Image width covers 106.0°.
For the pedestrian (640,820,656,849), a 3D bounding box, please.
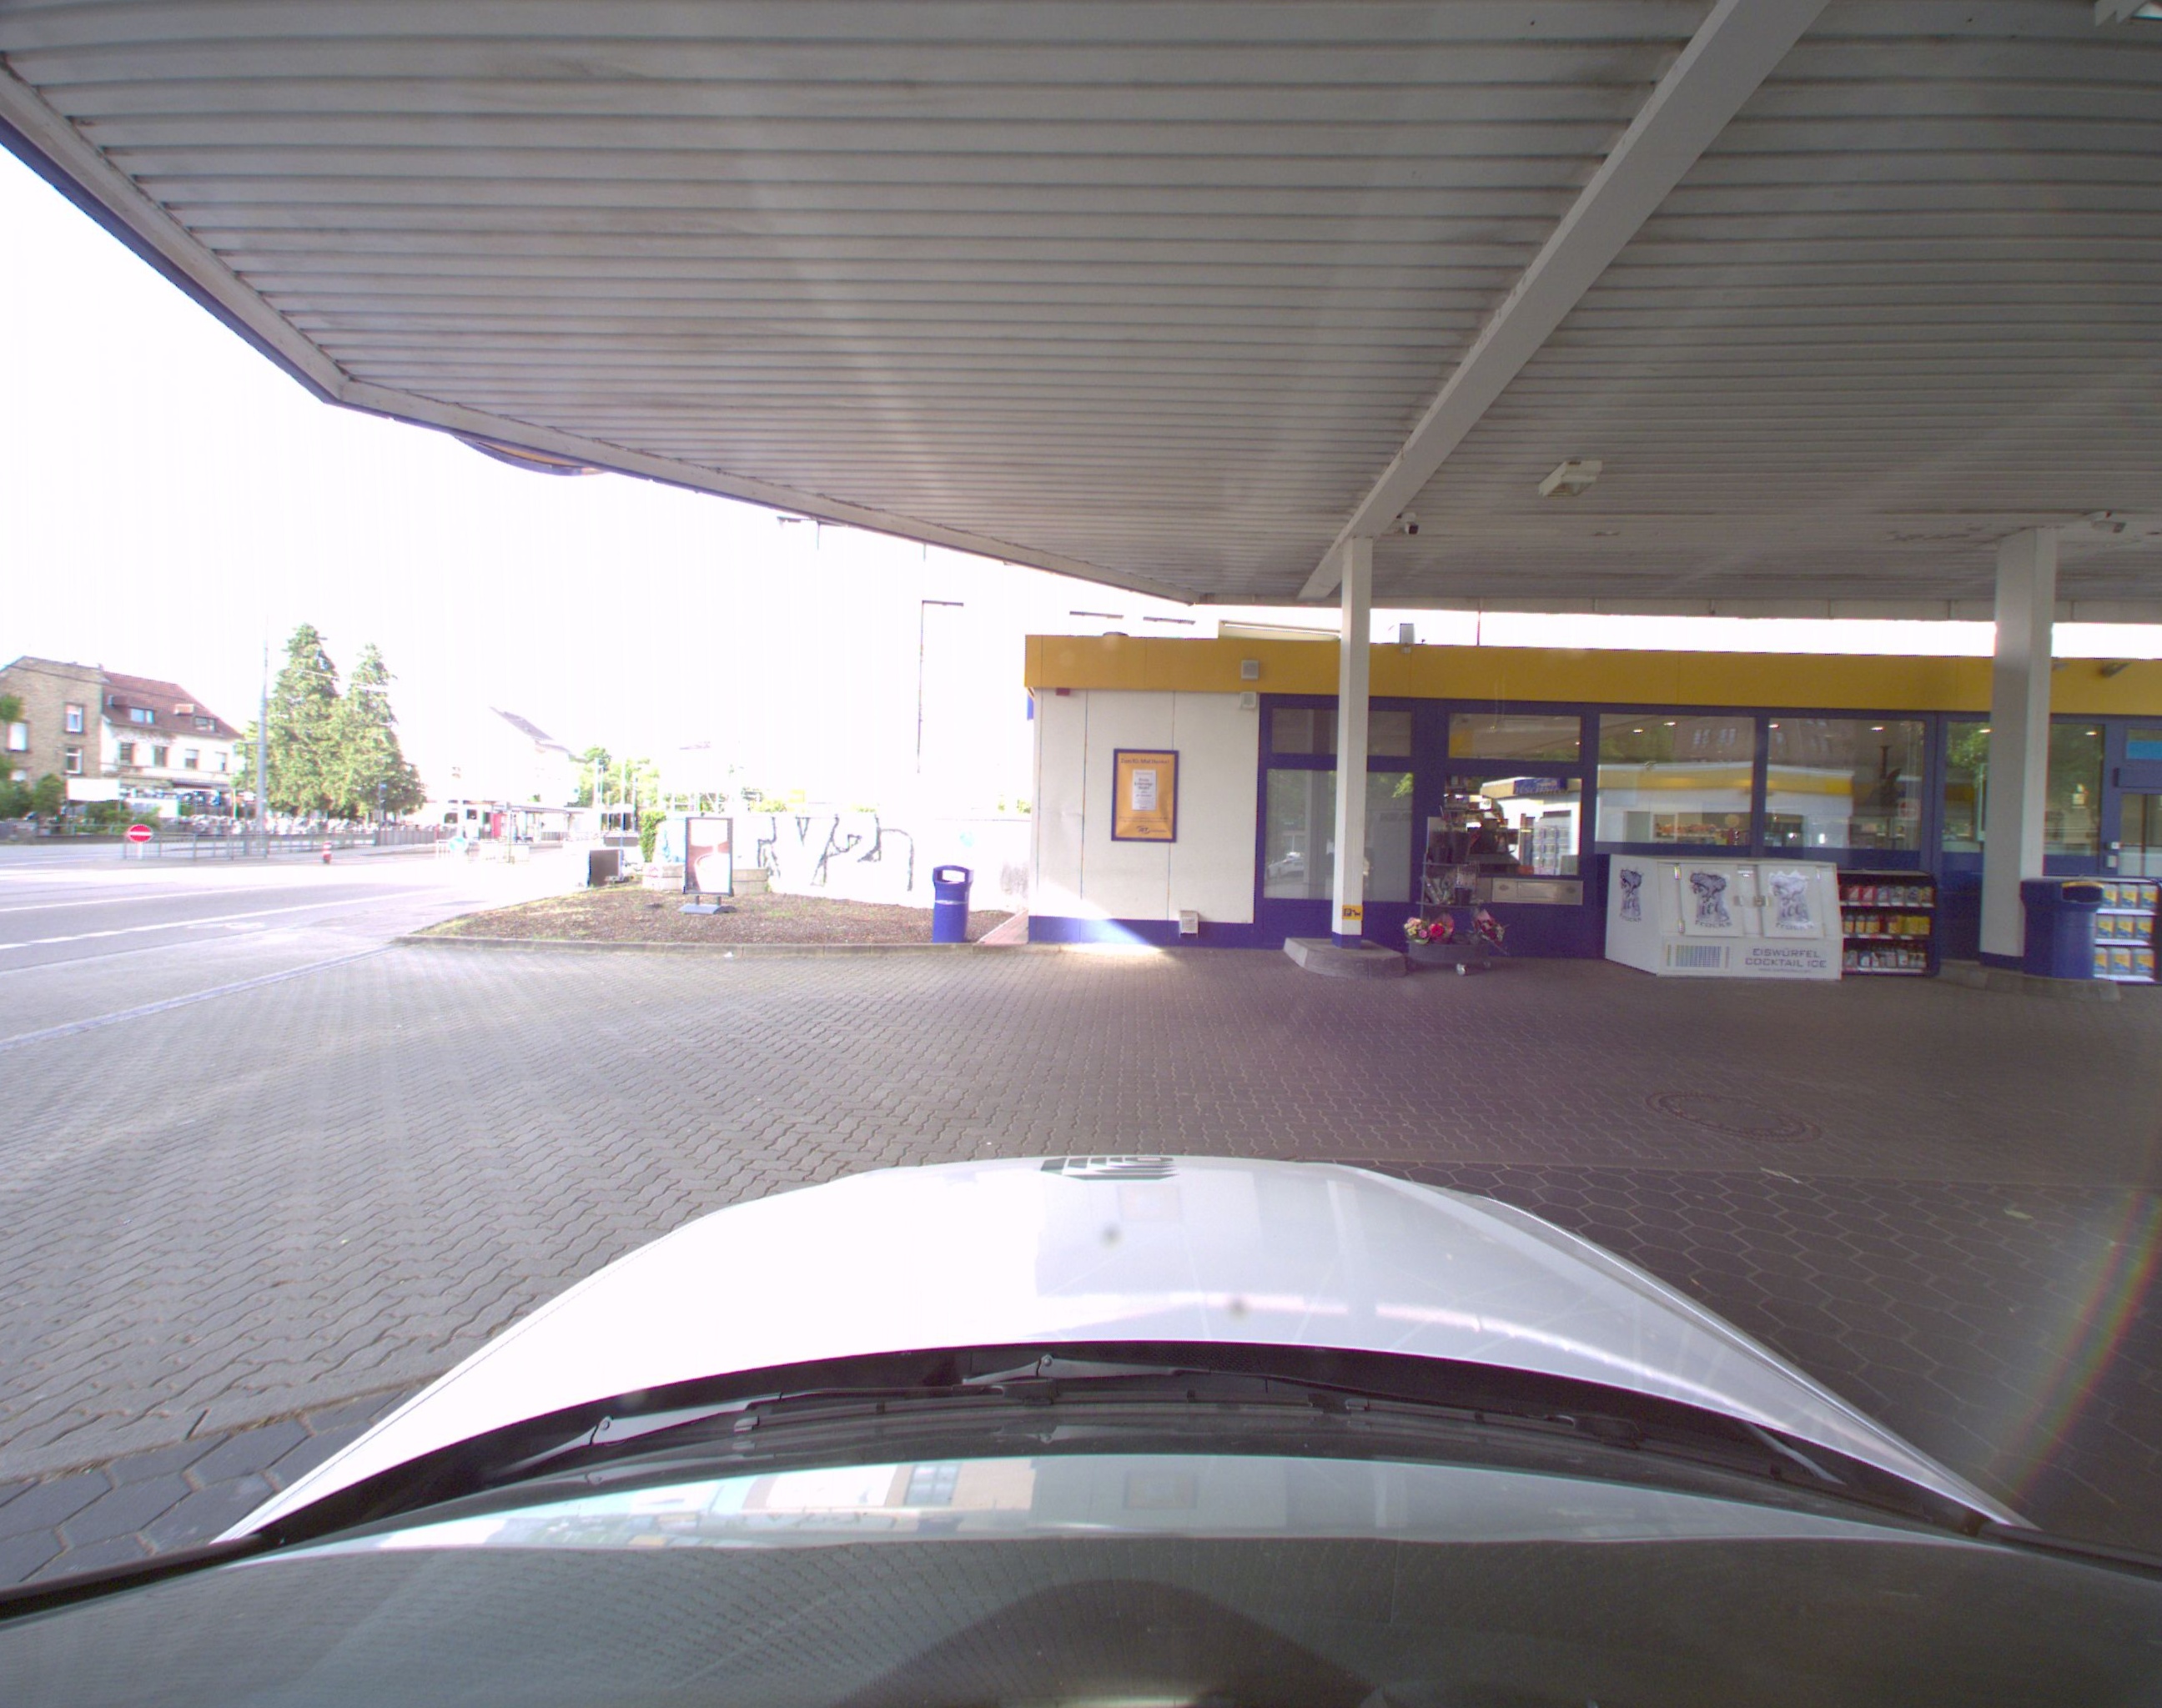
[{"bbox_3d":[-30.667,-1.376,57.673,0.807,2.014,0.846,0,-1,-14],"label":"pedestrian"}]
